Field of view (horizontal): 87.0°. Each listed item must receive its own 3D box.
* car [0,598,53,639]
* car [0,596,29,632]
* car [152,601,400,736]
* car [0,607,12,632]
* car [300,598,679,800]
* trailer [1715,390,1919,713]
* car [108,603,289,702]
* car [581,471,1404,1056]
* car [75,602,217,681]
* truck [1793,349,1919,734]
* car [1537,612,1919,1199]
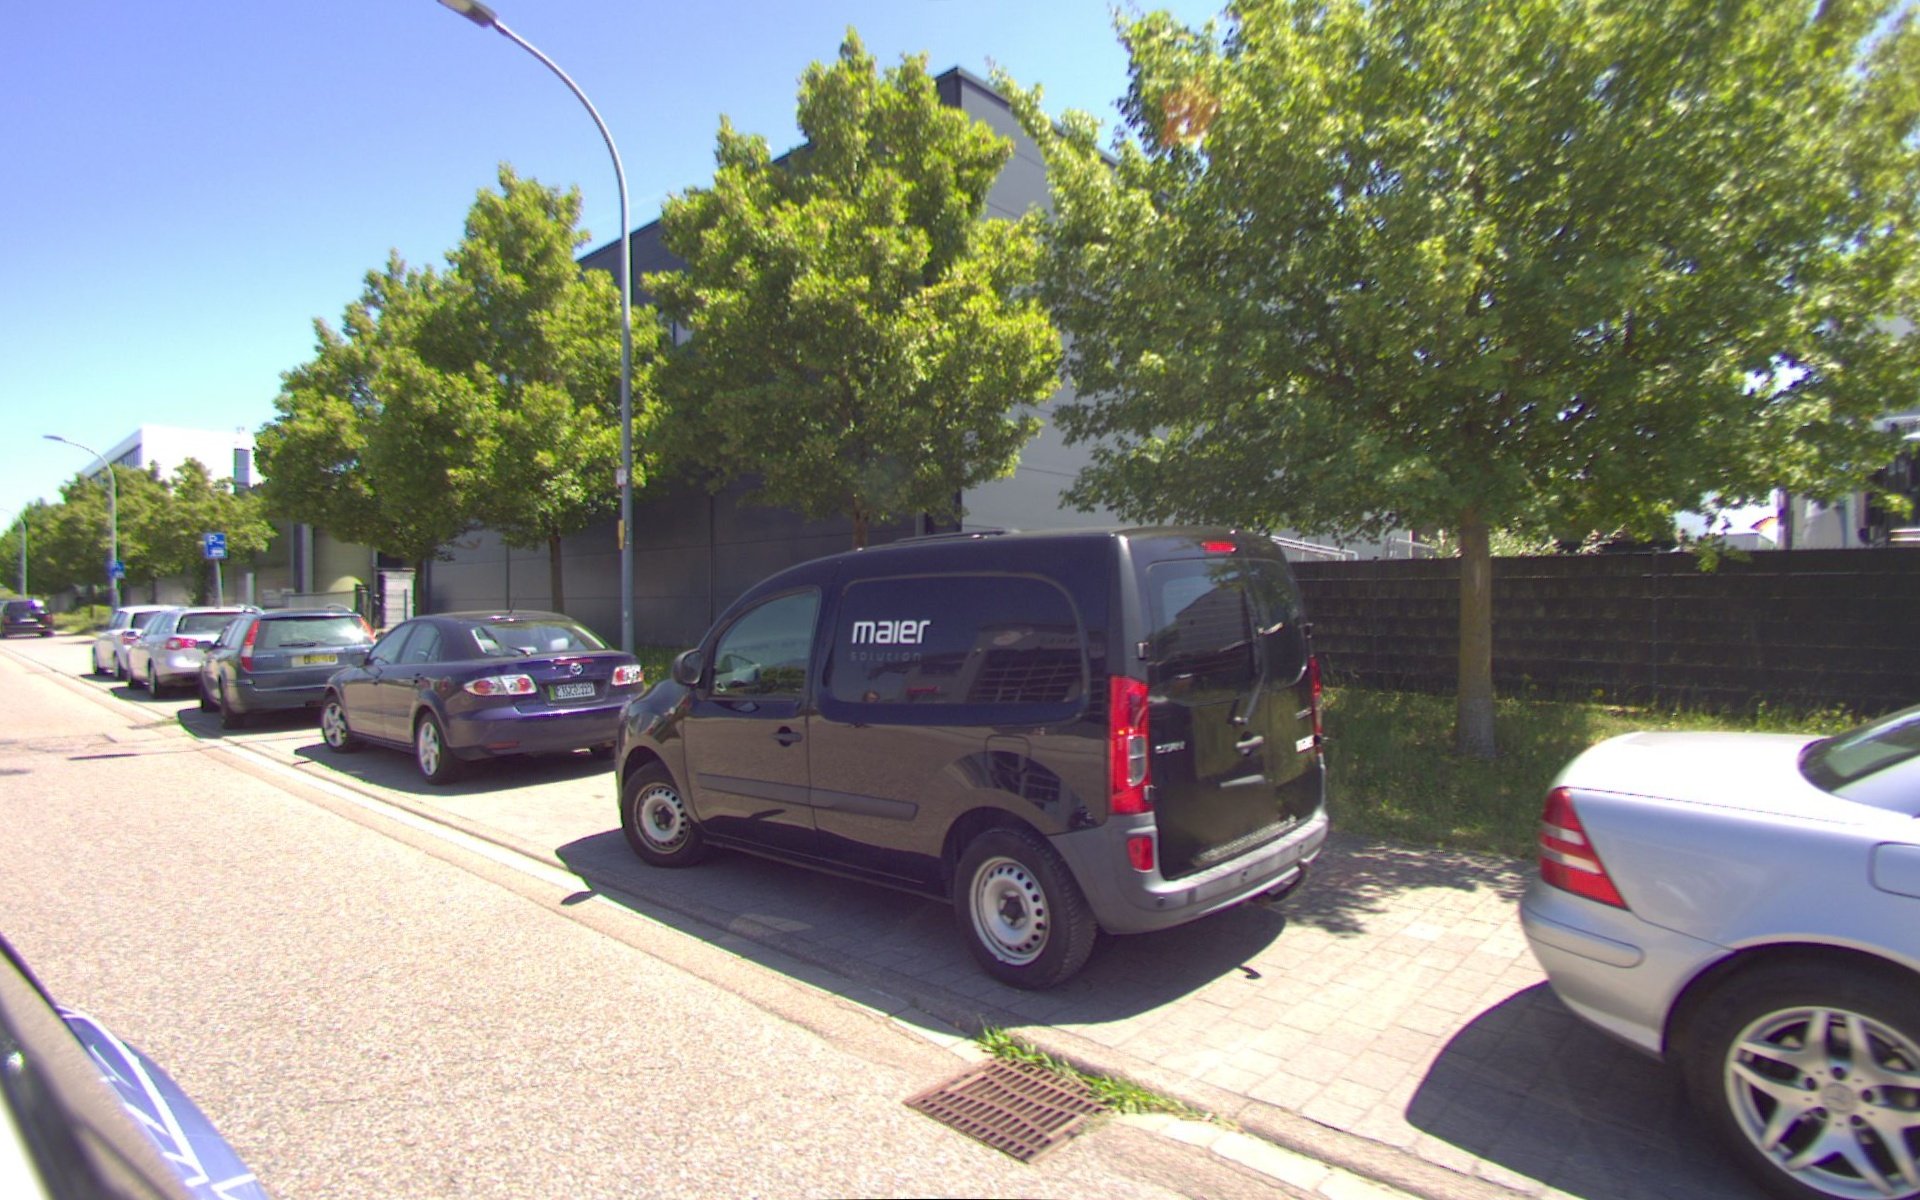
[{"bbox_3d":[-40.213,0.769,43.254,3.830,1.660,1.775,-1,1,42],"label":"car"},{"bbox_3d":[-48.850,0.715,51.514,3.830,1.723,1.775,-1,1,42],"label":"car"},{"bbox_3d":[-9.376,0.806,13.714,4.451,1.497,1.775,-1,1,42],"label":"car"},{"bbox_3d":[-53.644,1.091,55.709,3.830,1.337,1.775,-1,1,42],"label":"car"},{"bbox_3d":[-4.711,0.762,9.781,4.452,1.475,1.774,-1,1,43],"label":"car"},{"bbox_3d":[15.802,-0.586,17.429,3.145,4.001,12.406,-1,-1,31],"label":"trailer"},{"bbox_3d":[-13.464,0.842,17.806,4.189,1.497,1.775,-1,1,42],"label":"car"},{"bbox_3d":[-0.143,0.509,5.235,4.084,1.824,1.811,-1,1,44],"label":"car"},{"bbox_3d":[-17.650,0.834,21.891,3.968,1.497,1.775,-1,1,42],"label":"car"},{"bbox_3d":[12.776,-0.610,12.318,3.145,4.001,5.990,-1,-1,31],"label":"truck"},{"bbox_3d":[3.517,0.709,1.839,1.625,1.321,4.002,-2,1,-45],"label":"car"}]
